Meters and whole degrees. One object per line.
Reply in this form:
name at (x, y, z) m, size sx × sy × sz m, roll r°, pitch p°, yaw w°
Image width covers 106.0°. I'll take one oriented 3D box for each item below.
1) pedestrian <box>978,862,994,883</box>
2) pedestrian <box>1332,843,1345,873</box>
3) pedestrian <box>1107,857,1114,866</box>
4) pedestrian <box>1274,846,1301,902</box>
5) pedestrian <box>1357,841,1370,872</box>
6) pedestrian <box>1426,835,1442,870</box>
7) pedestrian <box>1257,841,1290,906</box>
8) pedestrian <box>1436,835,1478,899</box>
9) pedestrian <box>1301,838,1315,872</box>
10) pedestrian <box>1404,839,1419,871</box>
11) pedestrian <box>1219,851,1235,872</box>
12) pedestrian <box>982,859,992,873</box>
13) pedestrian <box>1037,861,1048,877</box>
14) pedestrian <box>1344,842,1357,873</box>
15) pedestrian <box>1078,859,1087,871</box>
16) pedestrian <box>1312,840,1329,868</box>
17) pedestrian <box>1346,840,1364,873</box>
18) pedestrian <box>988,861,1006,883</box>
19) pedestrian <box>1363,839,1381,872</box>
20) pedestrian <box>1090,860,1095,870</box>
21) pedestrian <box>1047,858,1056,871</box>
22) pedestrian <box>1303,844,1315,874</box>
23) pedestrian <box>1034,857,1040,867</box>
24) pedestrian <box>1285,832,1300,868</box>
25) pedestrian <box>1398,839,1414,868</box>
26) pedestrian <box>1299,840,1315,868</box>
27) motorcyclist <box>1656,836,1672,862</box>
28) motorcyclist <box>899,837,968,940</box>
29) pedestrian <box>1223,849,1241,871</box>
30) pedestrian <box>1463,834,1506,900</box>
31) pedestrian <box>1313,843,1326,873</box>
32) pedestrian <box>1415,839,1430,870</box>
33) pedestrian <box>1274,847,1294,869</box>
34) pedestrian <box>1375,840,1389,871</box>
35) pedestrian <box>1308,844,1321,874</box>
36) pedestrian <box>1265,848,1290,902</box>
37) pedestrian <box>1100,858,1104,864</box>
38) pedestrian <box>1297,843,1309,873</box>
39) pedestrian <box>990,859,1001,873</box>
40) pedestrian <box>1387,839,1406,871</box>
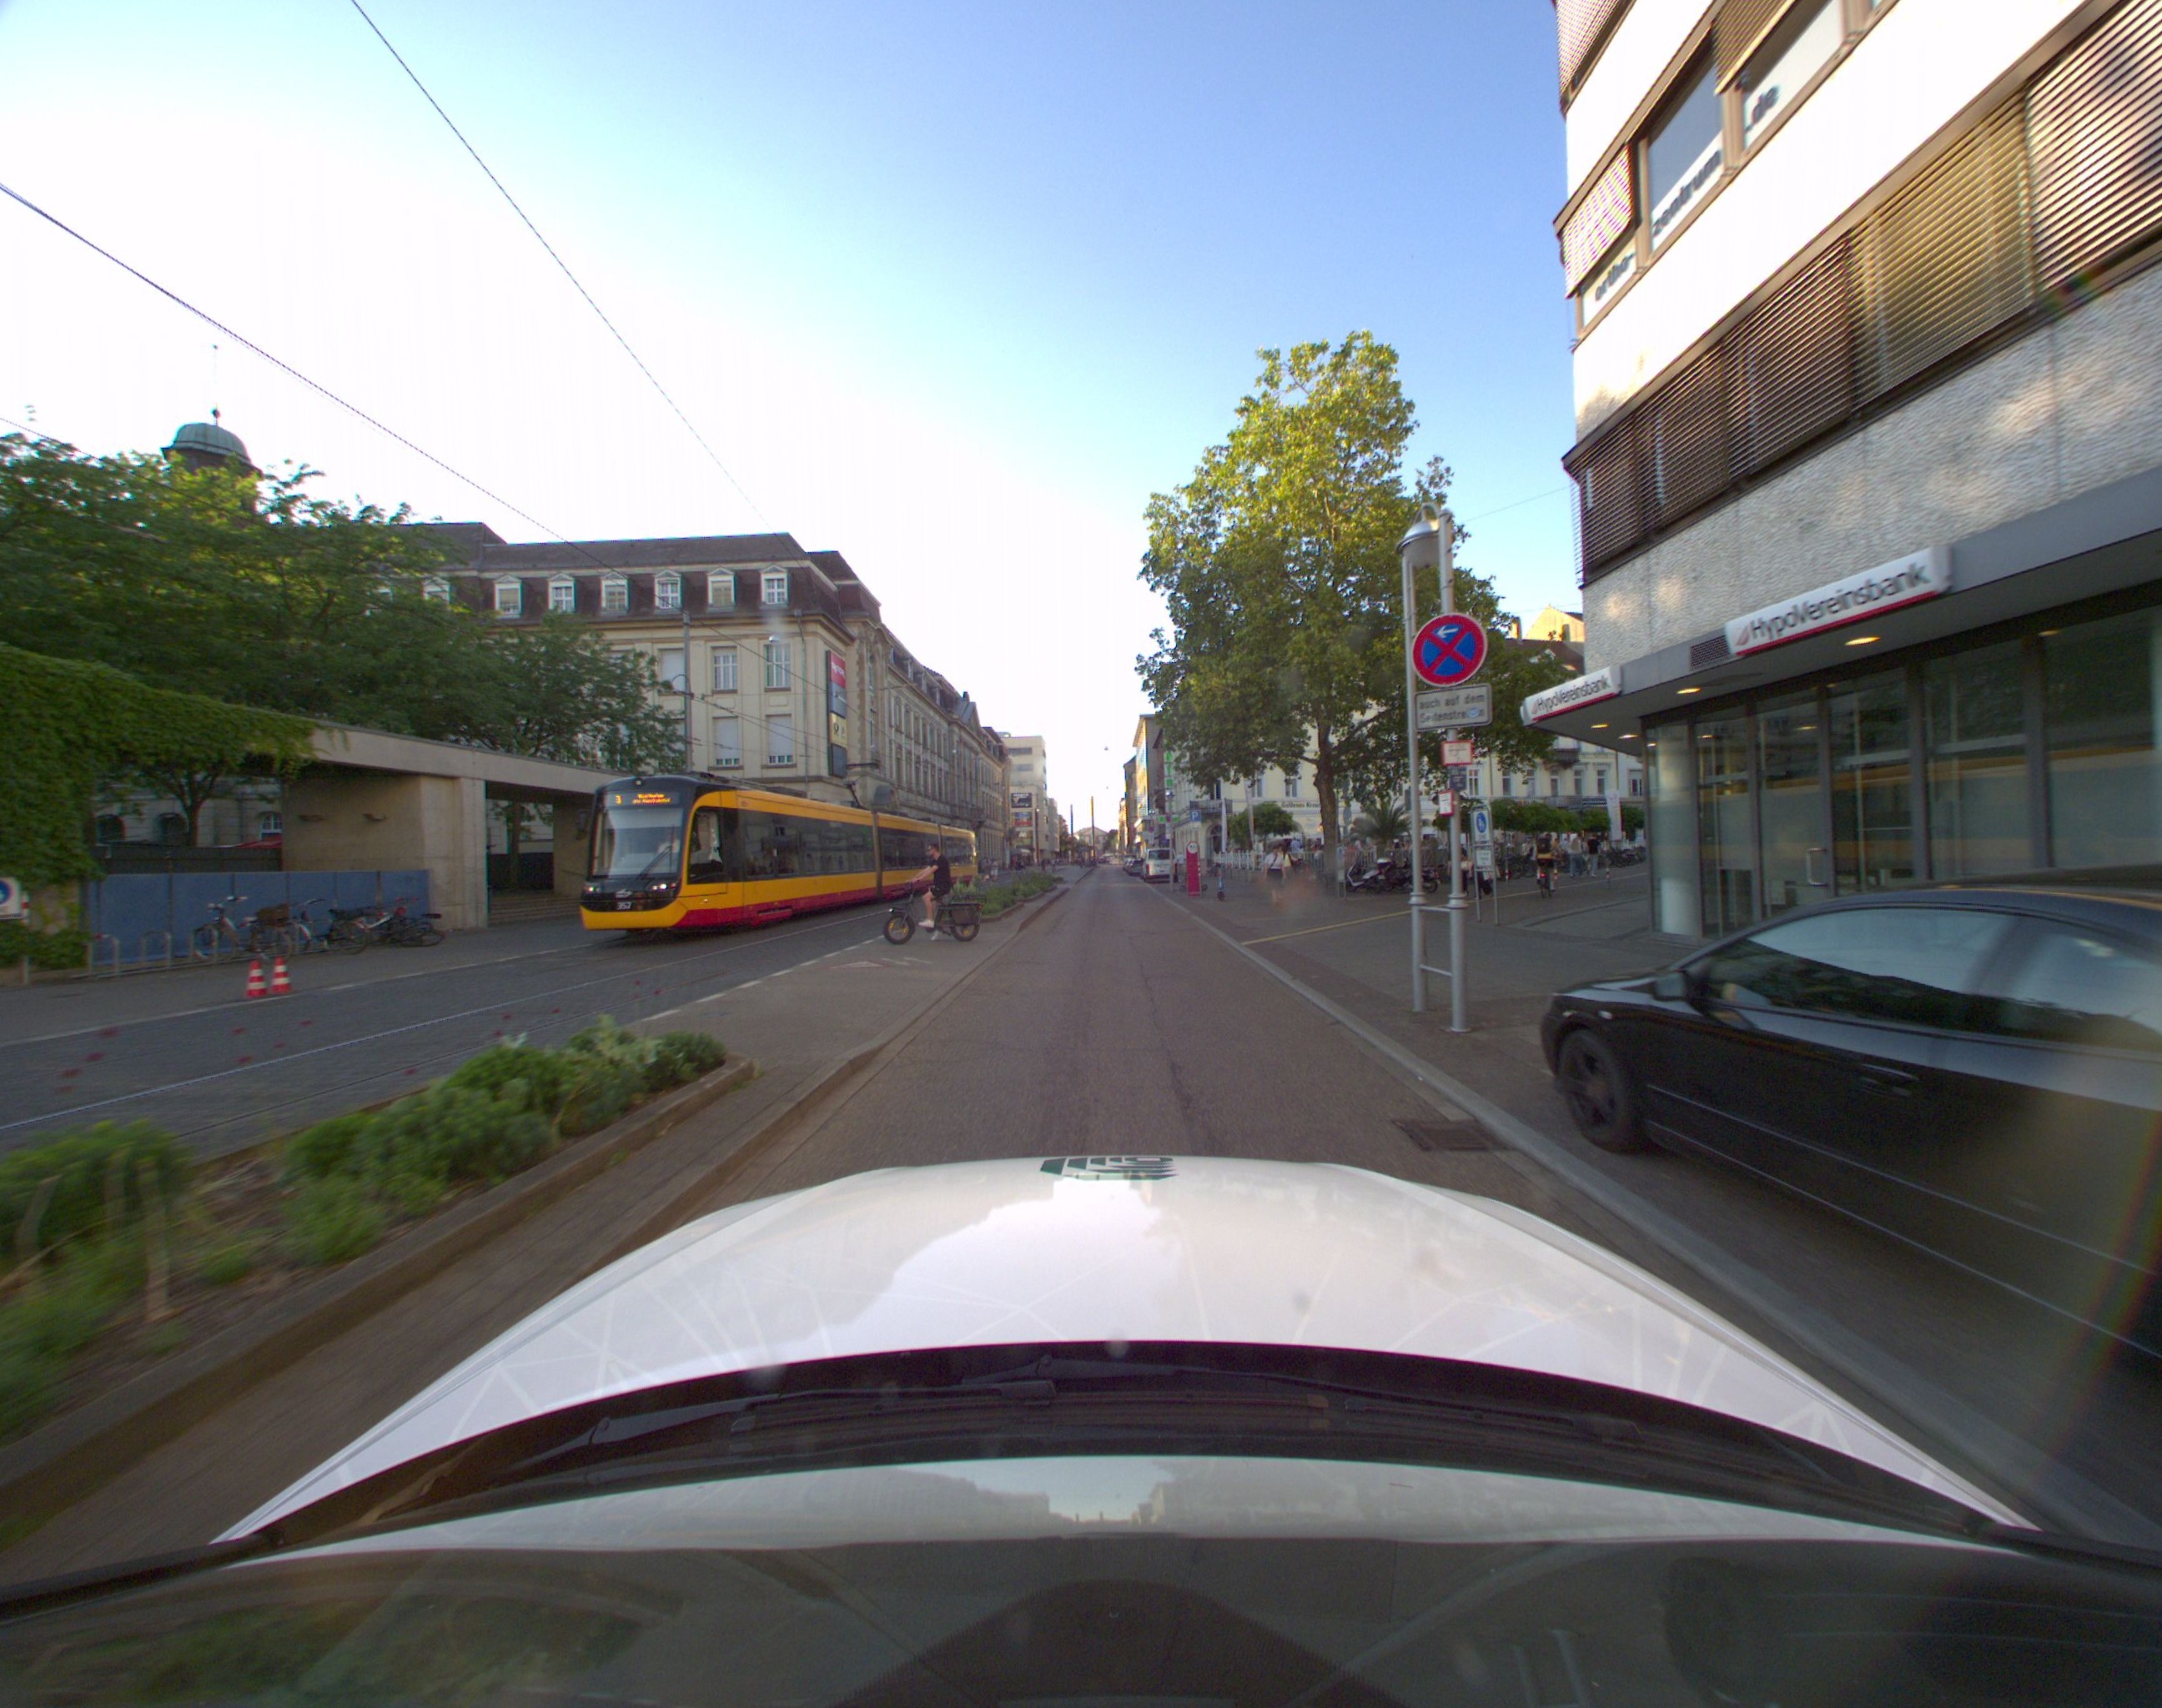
pedestrian at (-6.853, 1.330, 58.733) m, size 0.750 × 1.514 × 0.868 m, roll -4°, pitch -3°, yaw 45°
pedestrian at (11.168, 0.179, 35.343) m, size 0.470 × 1.285 × 0.542 m, roll -3°, pitch -2°, yaw 17°
pedestrian at (5.865, 1.487, 162.736) m, size 1.231 × 1.928 × 1.017 m, roll -1°, pitch -1°, yaw -14°
pedestrian at (6.560, 0.642, 25.909) m, size 0.675 × 1.717 × 0.655 m, roll -2°, pitch -2°, yaw 4°
pedestrian at (11.984, 0.120, 34.547) m, size 0.470 × 1.285 × 0.542 m, roll -3°, pitch -2°, yaw 17°
pedestrian at (14.441, -0.065, 33.334) m, size 0.470 × 1.400 × 0.542 m, roll -3°, pitch -3°, yaw 17°
pedestrian at (5.571, 0.573, 23.609) m, size 0.711 × 1.803 × 0.825 m, roll -4°, pitch -1°, yaw 4°
pedestrian at (10.378, 0.365, 22.495) m, size 0.827 × 1.741 × 0.651 m, roll 0°, pitch -3°, yaw -37°
pedestrian at (11.012, 0.056, 39.496) m, size 0.614 × 1.571 × 0.633 m, roll -3°, pitch -2°, yaw 16°
pedestrian at (13.680, 0.032, 33.688) m, size 0.470 × 1.285 × 0.542 m, roll -3°, pitch -2°, yaw 17°
pedestrian at (9.270, 0.470, 51.854) m, size 0.820 × 1.306 × 0.870 m, roll -2°, pitch -2°, yaw 1°
pedestrian at (-11.199, 1.464, 97.164) m, size 1.051 × 1.686 × 0.903 m, roll -1°, pitch -1°, yaw -18°
pedestrian at (-4.131, 1.602, 87.493) m, size 1.048 × 1.686 × 0.905 m, roll -2°, pitch -2°, yaw -8°
pedestrian at (11.556, 0.157, 34.968) m, size 0.473 × 1.285 × 0.528 m, roll -3°, pitch -3°, yaw 18°
pedestrian at (0.185, 1.518, 111.423) m, size 1.041 × 1.686 × 0.911 m, roll -3°, pitch -2°, yaw 13°
pedestrian at (14.457, -0.018, 49.111) m, size 0.754 × 1.644 × 0.659 m, roll -2°, pitch -2°, yaw 2°
pedestrian at (11.193, 0.119, 33.311) m, size 0.639 × 1.285 × 0.744 m, roll -3°, pitch -2°, yaw 17°
pedestrian at (-6.006, 1.272, 58.267) m, size 0.710 × 1.514 × 1.043 m, roll -4°, pitch -3°, yaw 45°
pedestrian at (11.807, 0.083, 33.055) m, size 0.639 × 1.285 × 0.744 m, roll -3°, pitch -2°, yaw 17°
pedestrian at (1.792, 1.657, 126.441) m, size 0.611 × 1.523 × 0.619 m, roll -2°, pitch -2°, yaw -7°
pedestrian at (-3.669, 1.337, 102.799) m, size 1.045 × 1.686 × 0.908 m, roll -1°, pitch -1°, yaw 1°
pedestrian at (10.234, 0.214, 36.591) m, size 0.470 × 1.330 × 0.542 m, roll -3°, pitch -2°, yaw 16°
pedestrian at (-8.483, 1.595, 157.146) m, size 0.907 × 1.928 × 0.846 m, roll -1°, pitch -1°, yaw -15°
pedestrian at (13.806, -0.278, 53.162) m, size 0.614 × 2.305 × 0.577 m, roll -1°, pitch -3°, yaw -20°
pedestrian at (14.715, -0.001, 36.875) m, size 0.535 × 1.285 × 0.477 m, roll -2°, pitch -2°, yaw 11°
pedestrian at (13.627, 0.019, 49.093) m, size 0.755 × 1.644 × 0.659 m, roll -2°, pitch -2°, yaw 0°
motorcyclist at (33.511, -0.268, 46.788) m, size 0.592 × 1.441 × 0.607 m, roll -3°, pitch -2°, yaw 26°
motorcyclist at (-2.735, 0.634, 15.071) m, size 1.007 × 1.813 × 0.951 m, roll -1°, pitch -3°, yaw -25°
pedestrian at (9.167, 0.359, 49.395) m, size 0.899 × 1.306 × 0.967 m, roll -2°, pitch -2°, yaw 1°
pedestrian at (10.870, 0.345, 21.918) m, size 0.827 × 1.724 × 0.651 m, roll 0°, pitch -3°, yaw -37°
pedestrian at (10.338, 0.192, 35.353) m, size 0.470 × 1.285 × 0.542 m, roll -3°, pitch -2°, yaw 16°
pedestrian at (14.375, 0.017, 34.298) m, size 0.470 × 1.285 × 0.542 m, roll -3°, pitch -2°, yaw 17°
pedestrian at (12.142, 0.265, 48.707) m, size 0.960 × 1.267 × 0.905 m, roll -2°, pitch -2°, yaw 1°
pedestrian at (12.602, 0.076, 34.096) m, size 0.470 × 1.285 × 0.542 m, roll -3°, pitch -2°, yaw 17°
pedestrian at (10.321, 0.215, 35.978) m, size 0.470 × 1.285 × 0.542 m, roll -3°, pitch -2°, yaw 16°
pedestrian at (6.414, 0.697, 26.579) m, size 0.611 × 1.717 × 0.662 m, roll -2°, pitch -2°, yaw 3°
pedestrian at (5.763, 1.927, 220.600) m, size 0.773 × 1.734 × 0.818 m, roll -4°, pitch -3°, yaw 42°
pedestrian at (10.299, 0.198, 37.818) m, size 0.470 × 1.364 × 0.542 m, roll -3°, pitch -2°, yaw 16°
pedestrian at (-10.417, 1.464, 99.235) m, size 1.051 × 1.686 × 0.903 m, roll -2°, pitch -1°, yaw -18°
pedestrian at (12.836, 0.046, 33.134) m, size 0.639 × 1.285 × 0.744 m, roll -3°, pitch -2°, yaw 17°
